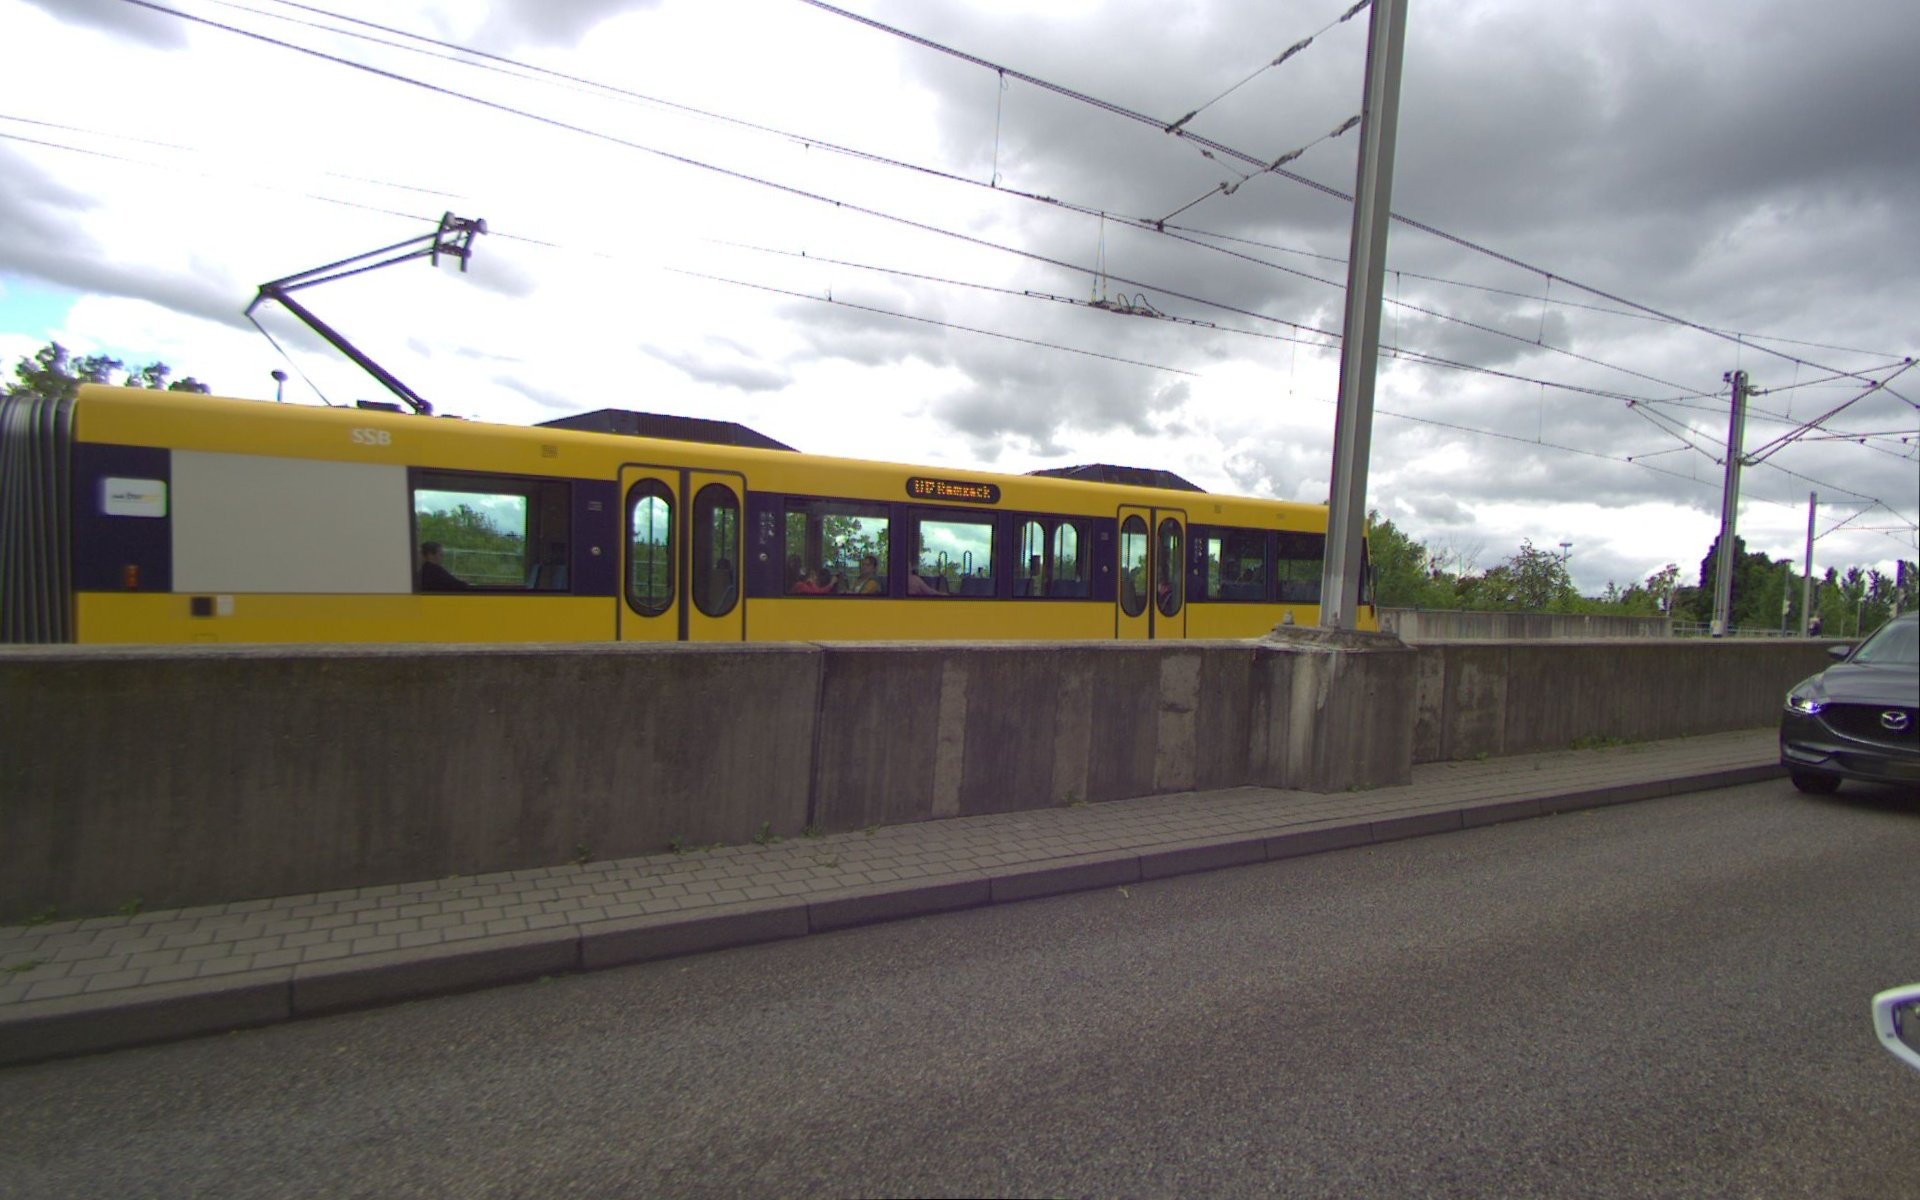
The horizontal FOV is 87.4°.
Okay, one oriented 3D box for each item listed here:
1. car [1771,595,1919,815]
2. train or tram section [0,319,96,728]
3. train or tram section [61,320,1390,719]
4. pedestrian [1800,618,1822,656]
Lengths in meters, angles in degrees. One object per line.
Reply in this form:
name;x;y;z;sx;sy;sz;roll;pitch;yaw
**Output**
car;9.121;0.835;8.893;4.019;1.709;1.768;1;0;-31
train or tram section;-16.015;-0.873;4.365;18.266;3.236;2.766;2;0;-32
train or tram section;-0.445;-0.475;14.431;18.282;3.236;2.764;1;-1;-34
pedestrian;36.911;1.598;43.559;0.638;1.646;0.504;2;0;-32
